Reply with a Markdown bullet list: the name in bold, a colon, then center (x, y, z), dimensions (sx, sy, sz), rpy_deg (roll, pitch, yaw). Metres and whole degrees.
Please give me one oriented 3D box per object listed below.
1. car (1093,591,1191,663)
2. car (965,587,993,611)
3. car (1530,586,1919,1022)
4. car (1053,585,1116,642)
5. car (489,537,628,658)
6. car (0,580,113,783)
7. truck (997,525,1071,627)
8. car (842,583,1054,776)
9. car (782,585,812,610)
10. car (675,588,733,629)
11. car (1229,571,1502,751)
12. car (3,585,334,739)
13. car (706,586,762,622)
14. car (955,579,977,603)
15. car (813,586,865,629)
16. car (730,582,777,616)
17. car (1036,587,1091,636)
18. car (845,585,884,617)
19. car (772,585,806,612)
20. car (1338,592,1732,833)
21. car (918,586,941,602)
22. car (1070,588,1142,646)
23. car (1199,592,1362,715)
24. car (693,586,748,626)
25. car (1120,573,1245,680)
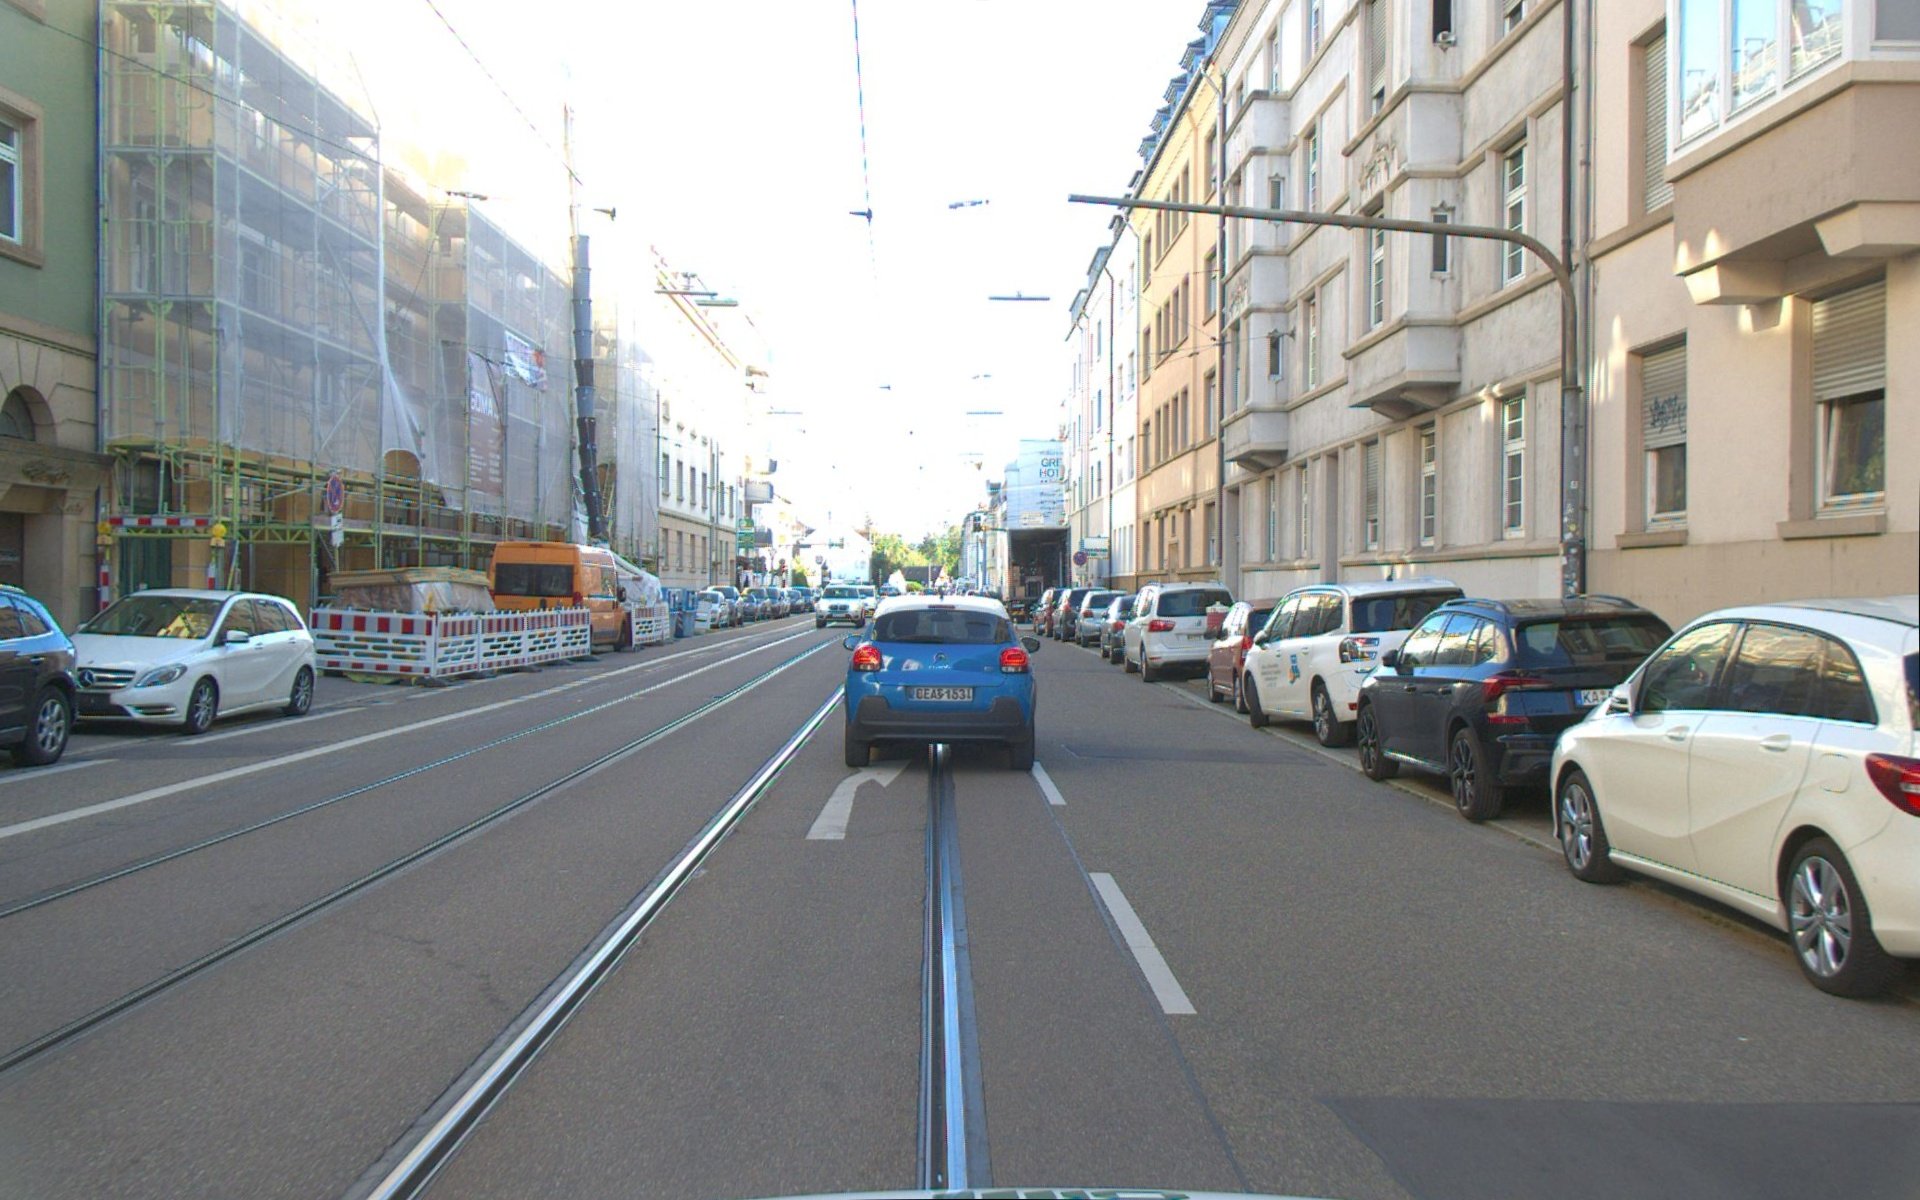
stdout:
- **car**: center (4.015, 0.561, 37.011), dimensions (1.687, 1.512, 4.221), rpy_deg (0, 0, -1)
- **car**: center (1.218, -0.060, 106.399), dimensions (1.729, 1.512, 4.031), rpy_deg (0, 0, -1)
- **car**: center (4.387, 0.735, 8.002), dimensions (1.747, 1.603, 4.326), rpy_deg (0, 0, -1)
- **car**: center (3.830, 0.384, 51.375), dimensions (1.630, 1.675, 4.221), rpy_deg (0, 0, -1)
- **car**: center (-8.913, -0.093, 37.168), dimensions (2.101, 2.518, 4.977), rpy_deg (-1, 1, -3)
- **car**: center (-8.855, 0.673, 13.403), dimensions (1.748, 1.655, 4.607), rpy_deg (2, 1, -3)
- **truck**: center (3.141, -1.041, 73.081), dimensions (2.794, 4.154, 11.271), rpy_deg (0, 0, 0)
- **car**: center (-0.119, 0.635, 15.667), dimensions (1.700, 1.533, 3.992), rpy_deg (2, 1, -1)
- **car**: center (-10.766, -0.170, 109.214), dimensions (1.789, 1.660, 3.903), rpy_deg (0, 0, -3)
- **car**: center (-9.981, 0.305, 64.796), dimensions (1.679, 1.544, 4.047), rpy_deg (0, 0, -1)
- **car**: center (4.420, 0.585, 18.757), dimensions (1.622, 1.782, 4.598), rpy_deg (0, 0, -5)
- **car**: center (-9.061, 0.622, 19.385), dimensions (1.683, 1.529, 4.388), rpy_deg (2, 1, 1)
- **car**: center (-10.559, 0.165, 77.549), dimensions (2.101, 1.650, 3.999), rpy_deg (-1, 1, -1)
- **car**: center (0.618, -0.876, 165.109), dimensions (2.174, 2.324, 4.083), rpy_deg (0, 0, -1)
- **car**: center (-4.835, 0.261, 66.522), dimensions (1.789, 1.660, 4.490), rpy_deg (0, 0, -1)
- **car**: center (-10.358, -0.071, 83.326), dimensions (1.788, 1.660, 4.848), rpy_deg (0, 0, -1)
- **car**: center (3.546, 0.376, 57.390), dimensions (1.630, 1.661, 3.870), rpy_deg (0, 0, -1)
- **car**: center (-5.017, 0.048, 87.119), dimensions (1.863, 1.660, 4.266), rpy_deg (0, 0, -1)
- **car**: center (-10.682, -0.102, 103.394), dimensions (1.789, 1.660, 3.904), rpy_deg (0, 0, -1)
- **car**: center (4.350, 0.743, 13.255), dimensions (1.621, 1.594, 4.338), rpy_deg (0, 0, -1)
- **car**: center (-2.933, -0.606, 160.450), dimensions (2.136, 1.512, 4.159), rpy_deg (0, 0, -1)
- **car**: center (4.066, 0.445, 46.535), dimensions (1.630, 1.546, 4.221), rpy_deg (0, 0, -1)
- **car**: center (4.450, 0.690, 23.401), dimensions (1.581, 1.588, 3.600), rpy_deg (0, 0, -1)
- **car**: center (-10.000, 0.226, 69.300), dimensions (1.679, 1.621, 4.266), rpy_deg (0, 0, -1)
- **car**: center (4.107, 0.443, 31.213), dimensions (1.695, 1.859, 4.686), rpy_deg (0, 0, -1)
